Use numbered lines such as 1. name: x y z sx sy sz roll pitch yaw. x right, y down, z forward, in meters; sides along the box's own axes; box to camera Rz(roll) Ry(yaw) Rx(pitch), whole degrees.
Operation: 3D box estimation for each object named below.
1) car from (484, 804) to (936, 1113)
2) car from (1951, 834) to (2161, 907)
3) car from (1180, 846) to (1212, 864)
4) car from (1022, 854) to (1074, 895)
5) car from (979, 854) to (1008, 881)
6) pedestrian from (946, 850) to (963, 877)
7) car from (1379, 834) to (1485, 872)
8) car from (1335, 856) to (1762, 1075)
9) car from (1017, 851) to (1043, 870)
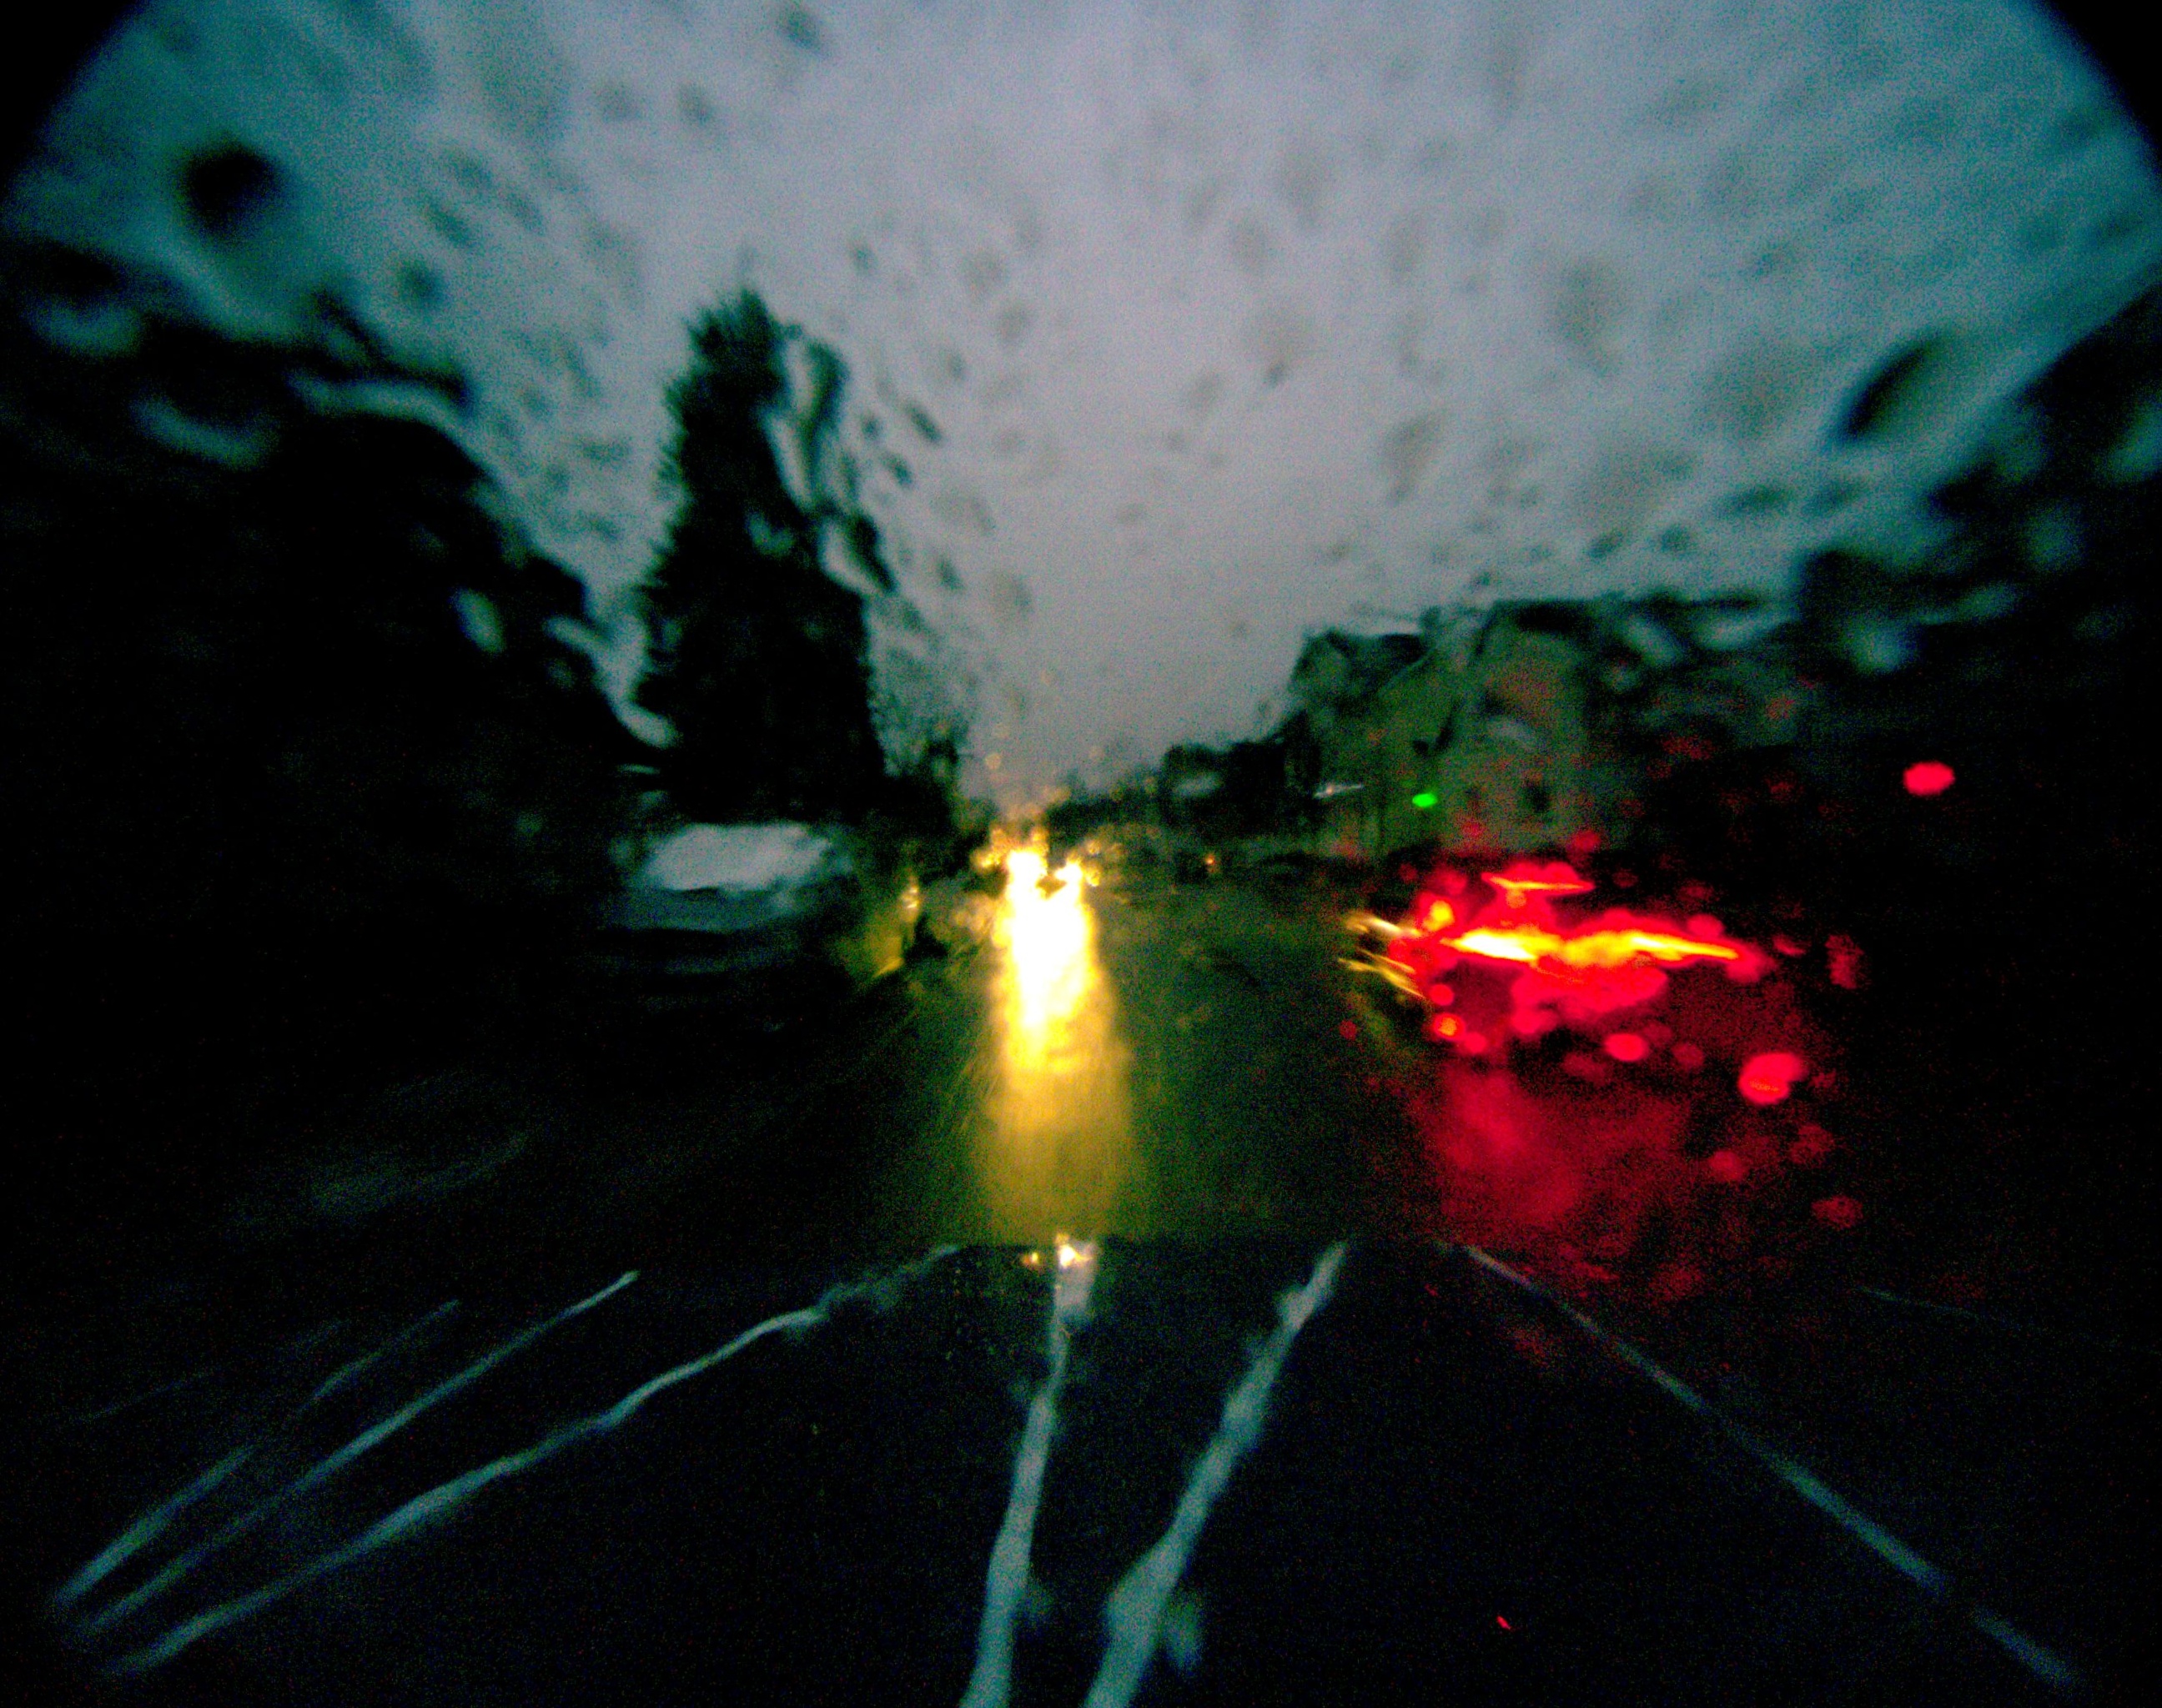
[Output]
1. car: -2.954 0.678 7.809 1.983 2.002 5.744 1 0 -2
2. car: 24.558 0.311 18.613 1.913 1.517 3.999 -2 1 -1
3. car: 9.622 0.094 63.689 1.787 1.358 3.997 -2 1 -4
4. car: -1.445 0.811 31.890 1.999 1.575 3.998 -1 0 -5
5. car: -5.357 0.795 46.864 1.654 1.531 3.389 2 0 -5
6. pedestrian: -8.043 0.597 48.256 0.990 1.732 1.055 0 1 -7
7. car: 16.218 -0.052 35.211 3.999 1.591 1.920 -1 1 -7
8. car: 4.031 0.784 7.644 1.910 1.479 4.570 0 0 7
9. car: -4.719 0.591 70.117 2.000 1.660 3.996 -2 1 -10
